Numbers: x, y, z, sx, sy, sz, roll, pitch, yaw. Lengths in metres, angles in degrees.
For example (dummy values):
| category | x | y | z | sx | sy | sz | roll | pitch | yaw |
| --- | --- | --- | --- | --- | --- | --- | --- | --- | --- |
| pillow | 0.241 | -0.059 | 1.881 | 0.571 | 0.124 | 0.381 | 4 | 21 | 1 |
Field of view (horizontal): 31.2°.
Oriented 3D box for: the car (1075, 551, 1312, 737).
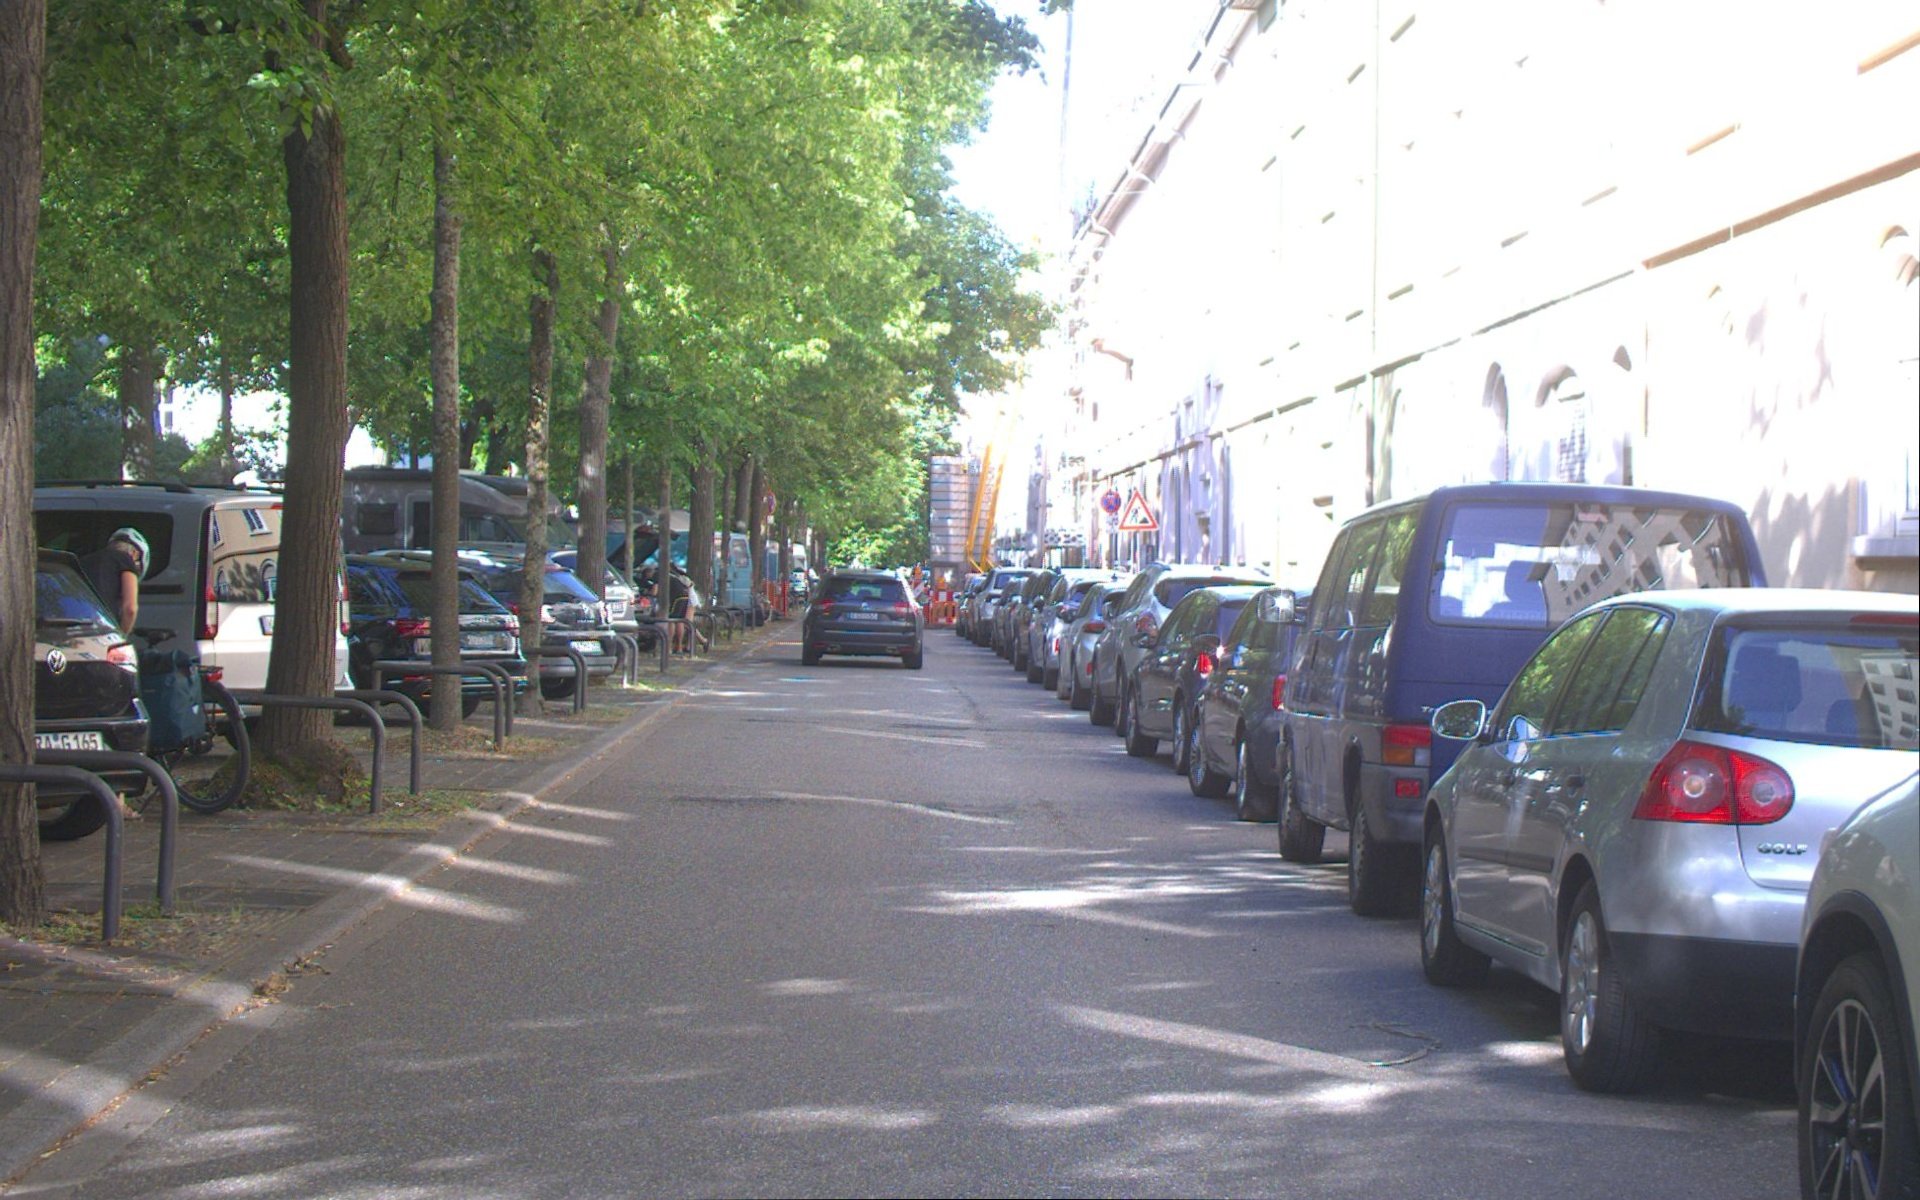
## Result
| category | x | y | z | sx | sy | sz | roll | pitch | yaw |
| --- | --- | --- | --- | --- | --- | --- | --- | --- | --- |
| car | 2.210 | 0.375 | 33.554 | 1.722 | 1.680 | 4.159 | 1 | 1 | -4 |

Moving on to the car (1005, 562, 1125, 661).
| category | x | y | z | sx | sy | sz | roll | pitch | yaw |
| --- | --- | --- | --- | --- | --- | --- | --- | --- | --- |
| car | 1.683 | 0.159 | 56.027 | 1.630 | 1.529 | 3.593 | 1 | 1 | -3 |

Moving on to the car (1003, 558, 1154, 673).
| category | x | y | z | sx | sy | sz | roll | pitch | yaw |
| --- | --- | --- | --- | --- | --- | --- | --- | --- | --- |
| car | 1.710 | 0.200 | 50.785 | 1.722 | 1.591 | 4.159 | 1 | 1 | -5 |

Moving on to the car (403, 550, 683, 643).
| category | x | y | z | sx | sy | sz | roll | pitch | yaw |
| --- | --- | --- | --- | --- | --- | --- | --- | --- | --- |
| car | -6.862 | -0.071 | 56.533 | 4.321 | 1.419 | 1.673 | 1 | 1 | 25 |

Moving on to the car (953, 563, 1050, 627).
| category | x | y | z | sx | sy | sz | roll | pitch | yaw |
| --- | --- | --- | --- | --- | --- | --- | --- | --- | --- |
| car | 0.942 | -0.140 | 80.527 | 1.993 | 1.404 | 4.501 | 2 | 1 | -3 |

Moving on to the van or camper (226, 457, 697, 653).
| category | x | y | z | sx | sy | sz | roll | pitch | yaw |
| --- | --- | --- | --- | --- | --- | --- | --- | --- | --- |
| van or camper | -7.853 | -0.728 | 53.853 | 7.236 | 2.920 | 2.311 | 1 | 1 | 26 |

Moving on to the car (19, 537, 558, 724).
| category | x | y | z | sx | sy | sz | roll | pitch | yaw |
| --- | --- | --- | --- | --- | --- | --- | --- | --- | --- |
| car | -5.809 | 0.224 | 29.592 | 4.483 | 1.450 | 1.784 | 1 | 1 | 31 |

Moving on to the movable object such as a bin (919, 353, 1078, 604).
| category | x | y | z | sx | sy | sz | roll | pitch | yaw |
| --- | --- | --- | --- | --- | --- | --- | --- | --- | --- |
| movable object such as a bin | 1.057 | -3.321 | 94.407 | 3.485 | 6.736 | 2.364 | 2 | 0 | 31 |

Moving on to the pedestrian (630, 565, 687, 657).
| category | x | y | z | sx | sy | sz | roll | pitch | yaw |
| --- | --- | --- | --- | --- | --- | --- | --- | --- | --- |
| pedestrian | -4.839 | 0.176 | 55.242 | 0.710 | 1.451 | 0.596 | 1 | 0 | 22 |

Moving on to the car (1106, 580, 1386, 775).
| category | x | y | z | sx | sy | sz | roll | pitch | yaw |
| --- | --- | --- | --- | --- | --- | --- | --- | --- | --- |
| car | 2.202 | 0.563 | 27.349 | 1.549 | 1.389 | 3.862 | 1 | 1 | -5 |

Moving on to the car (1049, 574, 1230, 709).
| category | x | y | z | sx | sy | sz | roll | pitch | yaw |
| --- | --- | --- | --- | --- | --- | --- | --- | --- | --- |
| car | 2.017 | 0.437 | 39.710 | 1.722 | 1.427 | 4.158 | 1 | 1 | -2 |

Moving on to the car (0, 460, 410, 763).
| category | x | y | z | sx | sy | sz | roll | pitch | yaw |
| --- | --- | --- | --- | --- | --- | --- | --- | --- | --- |
| car | -6.225 | 0.020 | 23.237 | 4.515 | 1.858 | 2.078 | 2 | 1 | 24 |

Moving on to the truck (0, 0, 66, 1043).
| category | x | y | z | sx | sy | sz | roll | pitch | yaw |
| --- | --- | --- | --- | --- | --- | --- | --- | --- | --- |
| truck | -6.239 | -0.503 | 10.088 | 7.314 | 3.282 | 2.543 | 1 | 1 | 30 |

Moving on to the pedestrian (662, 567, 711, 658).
| category | x | y | z | sx | sy | sz | roll | pitch | yaw |
| --- | --- | --- | --- | --- | --- | --- | --- | --- | --- |
| pedestrian | -4.431 | 0.196 | 55.725 | 0.615 | 1.451 | 0.519 | 1 | 0 | 22 |

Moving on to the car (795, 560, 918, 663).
| category | x | y | z | sx | sy | sz | roll | pitch | yaw |
| --- | --- | --- | --- | --- | --- | --- | --- | --- | --- |
| car | -1.605 | 0.148 | 52.360 | 1.796 | 1.498 | 3.586 | 1 | 1 | -3 |

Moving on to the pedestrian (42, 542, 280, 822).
| category | x | y | z | sx | sy | sz | roll | pitch | yaw |
| --- | --- | --- | --- | --- | --- | --- | --- | --- | --- |
| pedestrian | -4.123 | 0.405 | 17.765 | 0.752 | 1.392 | 0.927 | 1 | 1 | 30 |

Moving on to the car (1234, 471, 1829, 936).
| category | x | y | z | sx | sy | sz | roll | pitch | yaw |
| --- | --- | --- | --- | --- | --- | --- | --- | --- | --- |
| car | 2.566 | 0.401 | 16.681 | 1.948 | 1.894 | 4.846 | 1 | 1 | -1 |

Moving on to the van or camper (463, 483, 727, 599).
| category | x | y | z | sx | sy | sz | roll | pitch | yaw |
| --- | --- | --- | --- | --- | --- | --- | --- | --- | --- |
| van or camper | -8.537 | -1.399 | 80.351 | 5.877 | 2.628 | 2.251 | 1 | 1 | 28 |

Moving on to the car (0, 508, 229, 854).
| category | x | y | z | sx | sy | sz | roll | pitch | yaw |
| --- | --- | --- | --- | --- | --- | --- | --- | --- | --- |
| car | -5.655 | 0.297 | 16.432 | 4.102 | 1.501 | 1.730 | 2 | 1 | 30 |

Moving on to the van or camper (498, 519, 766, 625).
| category | x | y | z | sx | sy | sz | roll | pitch | yaw |
| --- | --- | --- | --- | --- | --- | --- | --- | --- | --- |
| van or camper | -7.264 | -0.639 | 76.131 | 5.504 | 2.268 | 2.218 | 1 | 1 | 23 |

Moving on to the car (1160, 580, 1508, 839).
| category | x | y | z | sx | sy | sz | roll | pitch | yaw |
| --- | --- | --- | --- | --- | --- | --- | --- | --- | --- |
| car | 2.339 | 0.645 | 22.318 | 1.621 | 1.493 | 3.596 | 1 | 1 | -4 |

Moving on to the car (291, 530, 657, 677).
| category | x | y | z | sx | sy | sz | roll | pitch | yaw |
| --- | --- | --- | --- | --- | --- | --- | --- | --- | --- |
| car | -5.921 | 0.020 | 41.823 | 4.140 | 1.673 | 1.756 | 1 | 1 | 28 |

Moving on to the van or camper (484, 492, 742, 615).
| category | x | y | z | sx | sy | sz | roll | pitch | yaw |
| --- | --- | --- | --- | --- | --- | --- | --- | --- | --- |
| van or camper | -9.444 | -1.284 | 93.446 | 6.666 | 3.230 | 2.492 | 1 | 1 | 27 |

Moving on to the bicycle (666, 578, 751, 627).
| category | x | y | z | sx | sy | sz | roll | pitch | yaw |
| --- | --- | --- | --- | --- | --- | --- | --- | --- | --- |
| bicycle | -5.297 | 0.057 | 72.490 | 1.719 | 1.002 | 0.511 | 0 | 1 | -31 |

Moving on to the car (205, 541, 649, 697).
| category | x | y | z | sx | sy | sz | roll | pitch | yaw |
| --- | --- | --- | --- | --- | --- | --- | --- | --- | --- |
| car | -5.508 | 0.180 | 35.368 | 4.417 | 1.457 | 1.713 | 2 | 0 | 31 |

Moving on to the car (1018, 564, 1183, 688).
| category | x | y | z | sx | sy | sz | roll | pitch | yaw |
| --- | --- | --- | --- | --- | --- | --- | --- | --- | --- |
| car | 1.806 | 0.309 | 45.317 | 1.722 | 1.523 | 4.159 | 1 | 1 | -4 |

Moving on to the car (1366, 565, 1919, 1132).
| category | x | y | z | sx | sy | sz | roll | pitch | yaw |
| --- | --- | --- | --- | --- | --- | --- | --- | --- | --- |
| car | 2.559 | 0.653 | 11.337 | 1.762 | 1.495 | 4.238 | 1 | 1 | -2 |

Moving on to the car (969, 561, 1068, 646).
| category | x | y | z | sx | sy | sz | roll | pitch | yaw |
| --- | --- | --- | --- | --- | --- | --- | --- | --- | --- |
| car | 1.179 | 0.048 | 71.264 | 1.816 | 1.668 | 4.674 | 1 | 1 | -1 |

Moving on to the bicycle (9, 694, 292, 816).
| category | x | y | z | sx | sy | sz | roll | pitch | yaw |
| --- | --- | --- | --- | --- | --- | --- | --- | --- | --- |
| bicycle | -4.292 | 0.811 | 18.188 | 1.612 | 0.556 | 0.409 | 1 | 1 | 30 |

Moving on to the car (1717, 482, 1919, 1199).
| category | x | y | z | sx | sy | sz | roll | pitch | yaw |
| --- | --- | --- | --- | --- | --- | --- | --- | --- | --- |
| car | 2.771 | 0.673 | 5.750 | 1.761 | 1.747 | 4.510 | 1 | 1 | -3 |

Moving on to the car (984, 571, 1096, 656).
| category | x | y | z | sx | sy | sz | roll | pitch | yaw |
| --- | --- | --- | --- | --- | --- | --- | --- | --- | --- |
| car | 1.374 | 0.214 | 60.425 | 1.630 | 1.408 | 4.089 | 1 | 1 | -3 |
